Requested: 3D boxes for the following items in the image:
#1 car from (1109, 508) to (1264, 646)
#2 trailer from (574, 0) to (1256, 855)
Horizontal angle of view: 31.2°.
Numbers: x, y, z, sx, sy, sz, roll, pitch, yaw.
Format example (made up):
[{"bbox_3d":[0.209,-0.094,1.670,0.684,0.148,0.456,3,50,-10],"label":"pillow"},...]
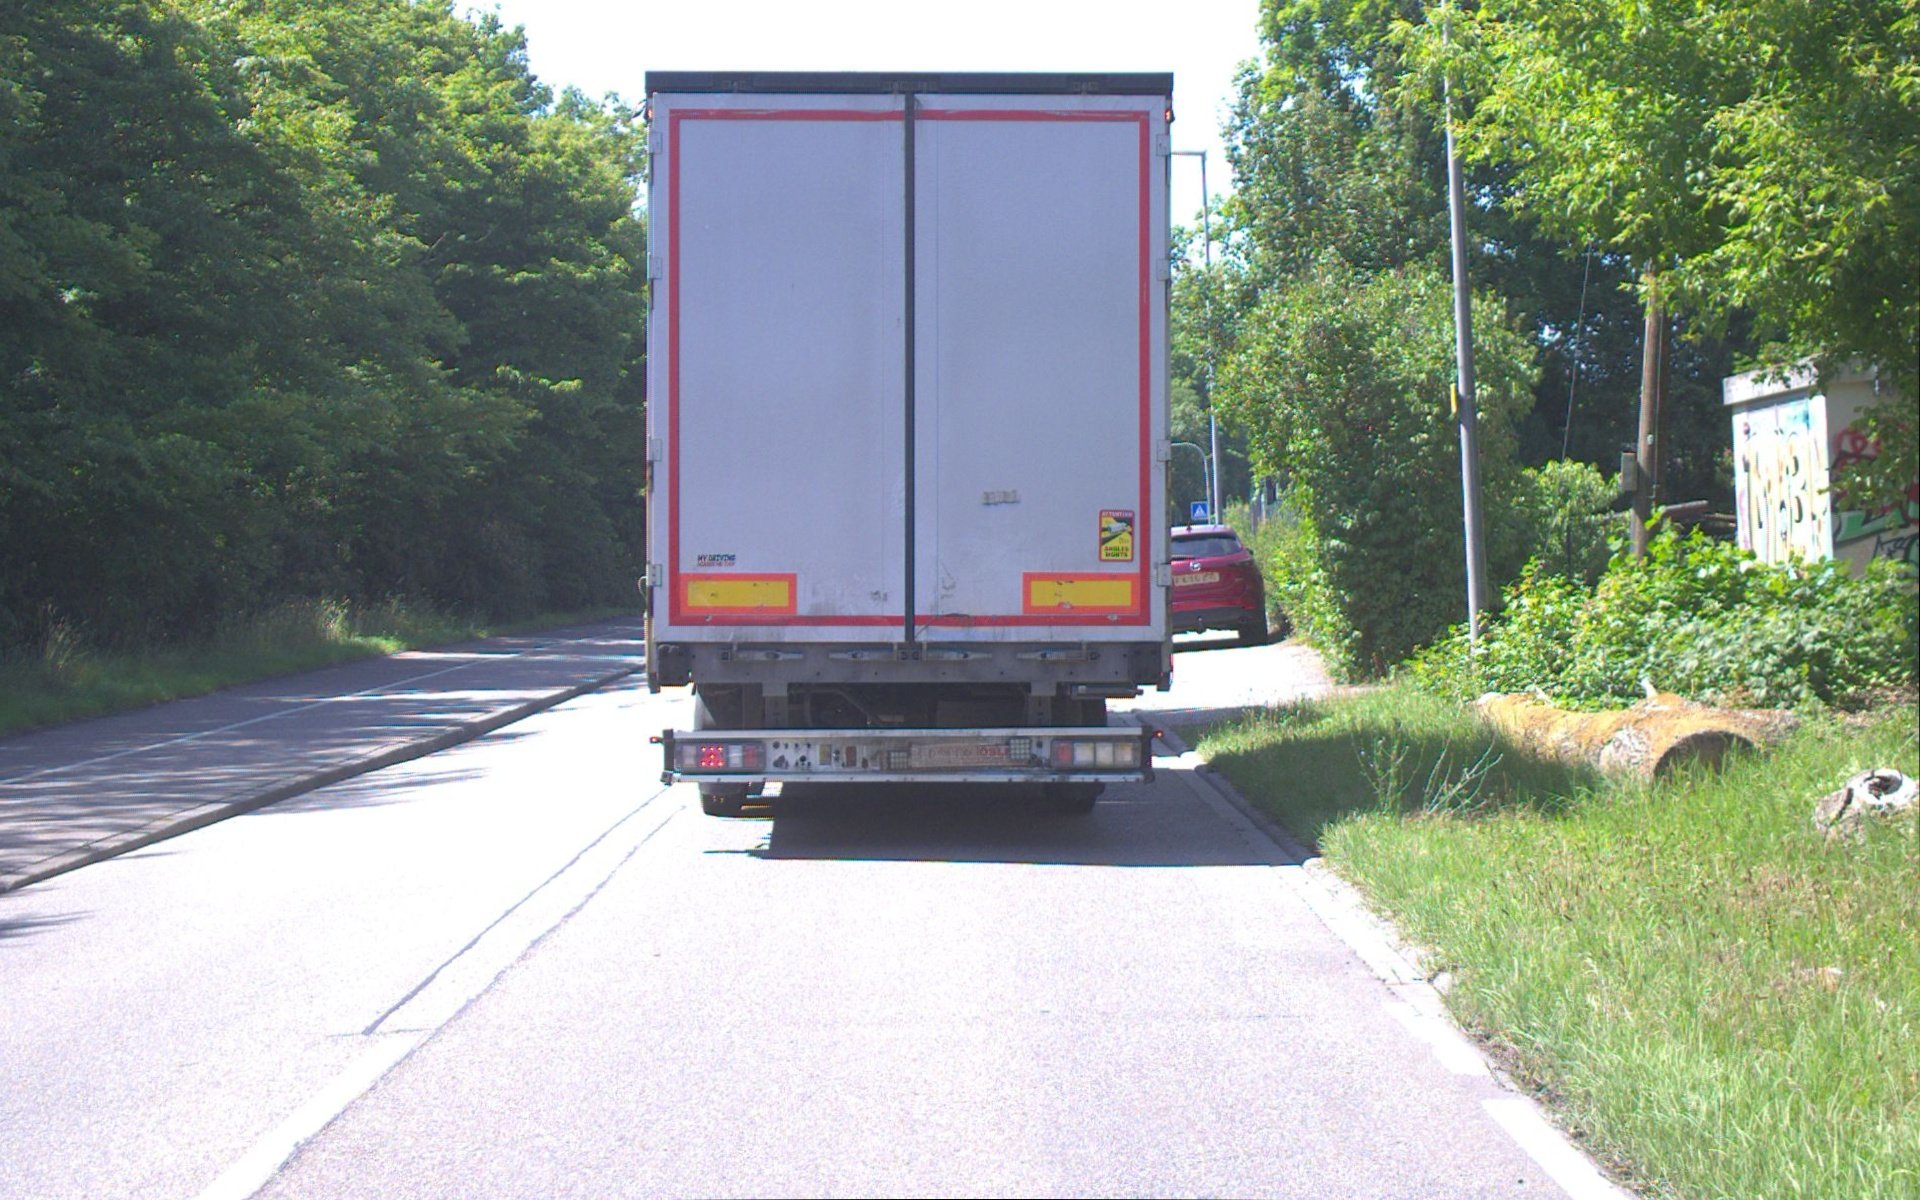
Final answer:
[{"bbox_3d":[3.085,-0.348,47.570,1.789,1.652,4.452,-6,1,1],"label":"car"},{"bbox_3d":[-0.277,-0.994,22.123,3.112,4.088,11.537,-2,1,-1],"label":"trailer"}]
